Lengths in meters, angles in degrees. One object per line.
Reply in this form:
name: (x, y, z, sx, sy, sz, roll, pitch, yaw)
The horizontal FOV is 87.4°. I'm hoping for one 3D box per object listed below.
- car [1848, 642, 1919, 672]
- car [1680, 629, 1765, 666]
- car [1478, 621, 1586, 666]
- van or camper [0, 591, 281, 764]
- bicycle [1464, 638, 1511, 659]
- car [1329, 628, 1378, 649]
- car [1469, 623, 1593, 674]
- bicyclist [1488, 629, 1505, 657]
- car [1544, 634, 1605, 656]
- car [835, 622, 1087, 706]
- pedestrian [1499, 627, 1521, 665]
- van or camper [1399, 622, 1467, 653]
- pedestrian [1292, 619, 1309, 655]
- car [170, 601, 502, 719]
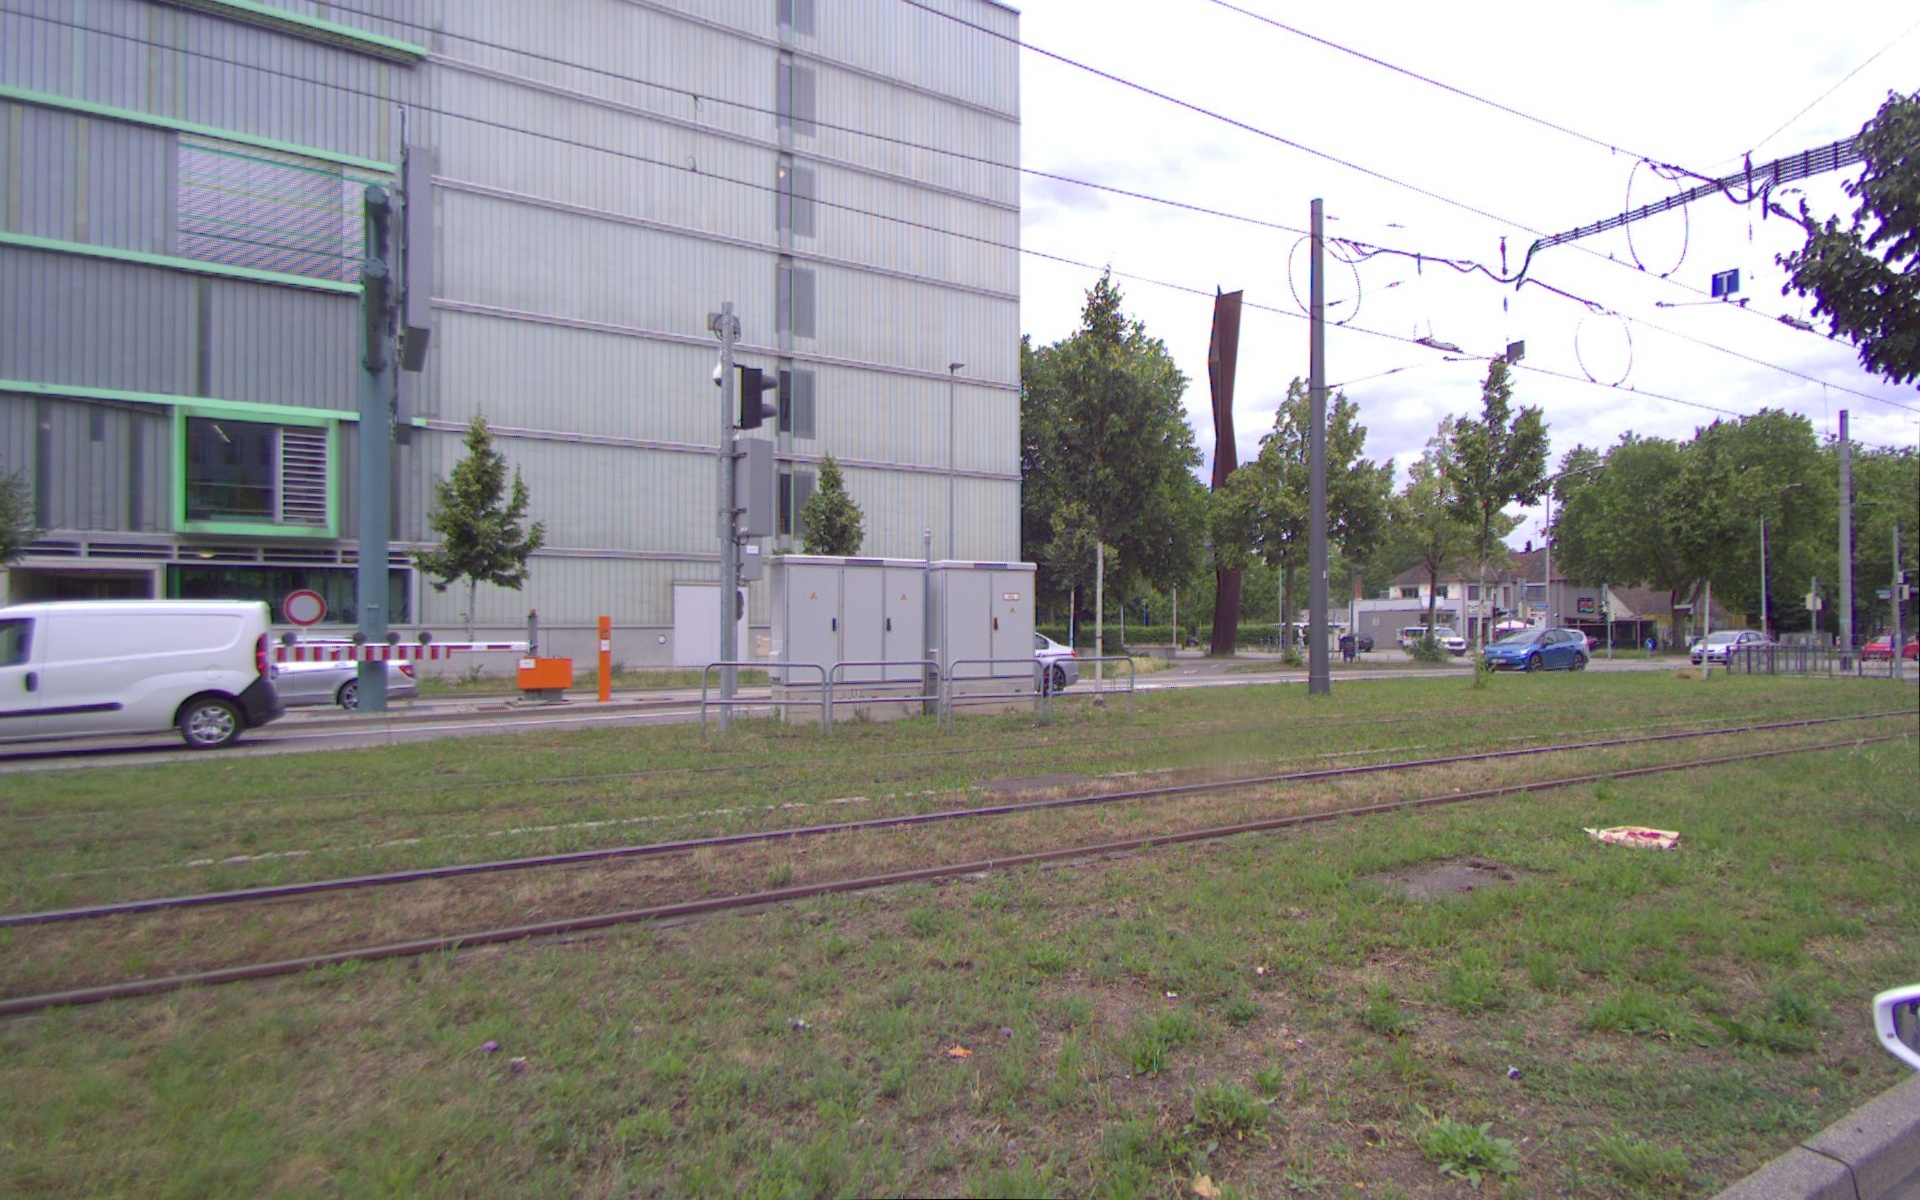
car: (52.608, 3.199, 57.191, 4.275, 1.591, 1.788, 1, -1, -29)
car: (36.210, 2.202, 47.682, 4.623, 1.665, 1.711, 1, -1, -33)
car: (22.738, 1.720, 39.872, 4.529, 1.591, 1.786, 2, 1, -32)
van or camper: (-11.179, 0.893, 11.986, 5.073, 1.925, 1.877, 1, -3, -35)
bicycle: (32.756, 2.987, 62.386, 2.474, 1.218, 0.738, -1, -1, 35)
car: (36.347, 3.556, 92.907, 1.974, 1.873, 3.973, 1, -1, -27)
car: (19.673, 1.612, 34.555, 4.642, 1.609, 1.951, 1, -1, -36)
bicyclist: (33.163, 2.640, 62.090, 0.838, 1.744, 0.719, -1, -1, 34)
car: (55.089, 3.990, 90.162, 2.078, 1.840, 4.268, 1, -1, -25)
car: (0.103, 1.203, 19.871, 4.872, 1.464, 1.718, 0, -3, -35)
pedestrian: (27.013, 2.243, 49.335, 0.769, 1.856, 0.771, -1, -1, 43)
van or camper: (32.529, 2.563, 69.252, 2.416, 2.040, 5.283, 0, -1, 2)
pedestrian: (19.538, 2.140, 57.662, 0.887, 2.040, 0.954, 0, -1, 18)
car: (-11.884, 1.091, 19.579, 5.232, 2.040, 1.984, 1, -1, -30)
